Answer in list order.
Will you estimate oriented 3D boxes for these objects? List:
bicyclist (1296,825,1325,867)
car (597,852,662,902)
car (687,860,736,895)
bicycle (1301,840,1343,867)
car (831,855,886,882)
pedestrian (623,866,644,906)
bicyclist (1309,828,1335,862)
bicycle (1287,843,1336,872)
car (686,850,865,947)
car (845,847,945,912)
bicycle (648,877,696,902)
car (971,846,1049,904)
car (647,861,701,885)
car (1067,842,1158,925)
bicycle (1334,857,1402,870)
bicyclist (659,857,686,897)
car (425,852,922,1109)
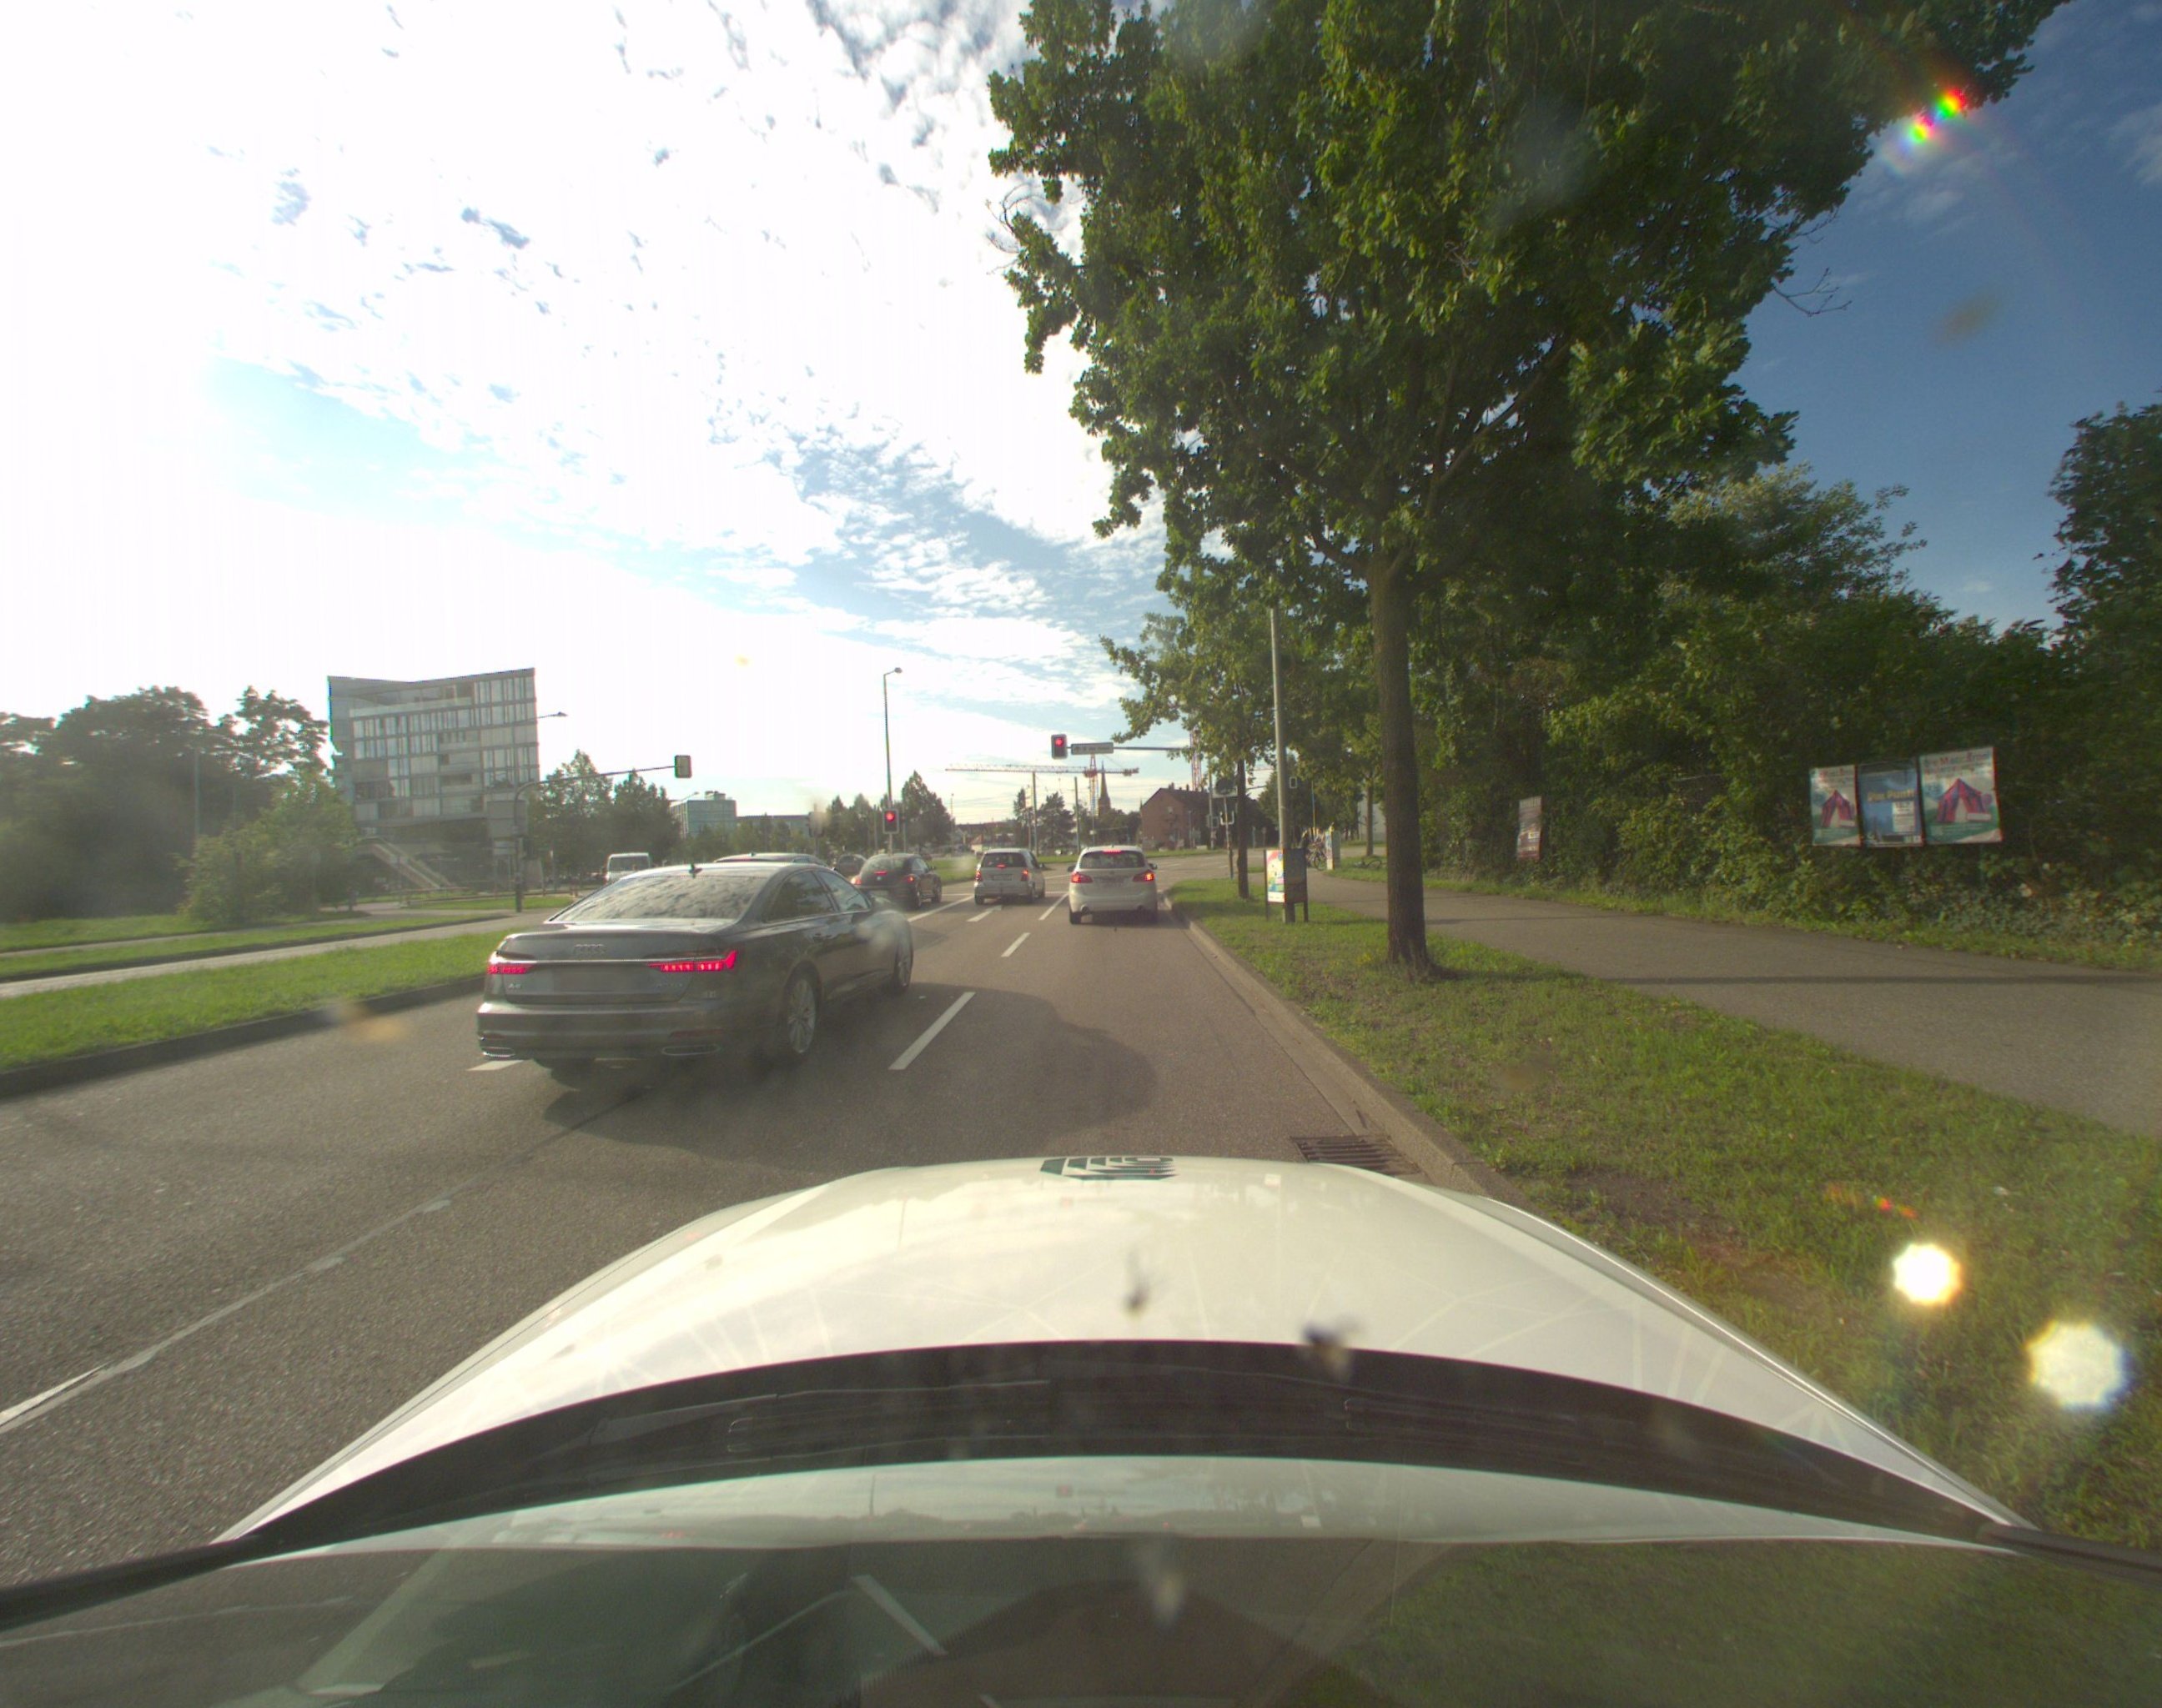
[{"bbox_3d":[9.427,-0.317,33.512,0.830,1.647,0.683,-4,0,-10],"label":"bicyclist"},{"bbox_3d":[-22.925,1.167,41.585,2.001,2.235,5.882,-4,0,-21],"label":"car"},{"bbox_3d":[-18.531,1.161,40.963,1.710,1.573,3.975,-4,0,-18],"label":"car"},{"bbox_3d":[11.053,-0.033,37.303,1.728,1.163,0.652,-2,0,-15],"label":"bicycle"},{"bbox_3d":[-14.446,0.930,53.025,3.182,1.574,1.572,-2,-1,-4],"label":"car"},{"bbox_3d":[-18.035,1.298,32.812,0.659,1.569,0.609,-2,0,-32],"label":"pedestrian"},{"bbox_3d":[11.023,-0.407,37.292,0.850,1.526,0.737,-3,0,-15],"label":"bicyclist"},{"bbox_3d":[9.488,0.134,33.525,1.771,1.050,0.708,-4,0,-11],"label":"bicycle"},{"bbox_3d":[-5.624,0.736,15.562,1.722,1.558,4.021,-1,0,2],"label":"car"},{"bbox_3d":[-4.998,0.623,22.415,1.714,1.564,3.880,-1,1,2],"label":"car"},{"bbox_3d":[-17.333,1.491,34.533,1.670,0.967,0.643,-3,0,-4],"label":"bicycle"},{"bbox_3d":[-2.023,0.553,24.321,1.722,1.558,4.061,-1,0,3],"label":"car"},{"bbox_3d":[-38.465,1.797,77.066,1.804,2.014,4.263,-4,-1,29],"label":"car"},{"bbox_3d":[0.665,0.558,17.760,1.723,1.558,4.060,-1,0,2],"label":"car"},{"bbox_3d":[10.831,0.348,30.871,1.407,0.385,2.568,-3,0,-9],"label":"bicycle"},{"bbox_3d":[-17.321,0.968,34.544,0.786,1.668,0.549,-3,0,-3],"label":"bicyclist"},{"bbox_3d":[-2.863,0.747,7.121,1.883,1.483,4.614,-1,0,2],"label":"car"}]
